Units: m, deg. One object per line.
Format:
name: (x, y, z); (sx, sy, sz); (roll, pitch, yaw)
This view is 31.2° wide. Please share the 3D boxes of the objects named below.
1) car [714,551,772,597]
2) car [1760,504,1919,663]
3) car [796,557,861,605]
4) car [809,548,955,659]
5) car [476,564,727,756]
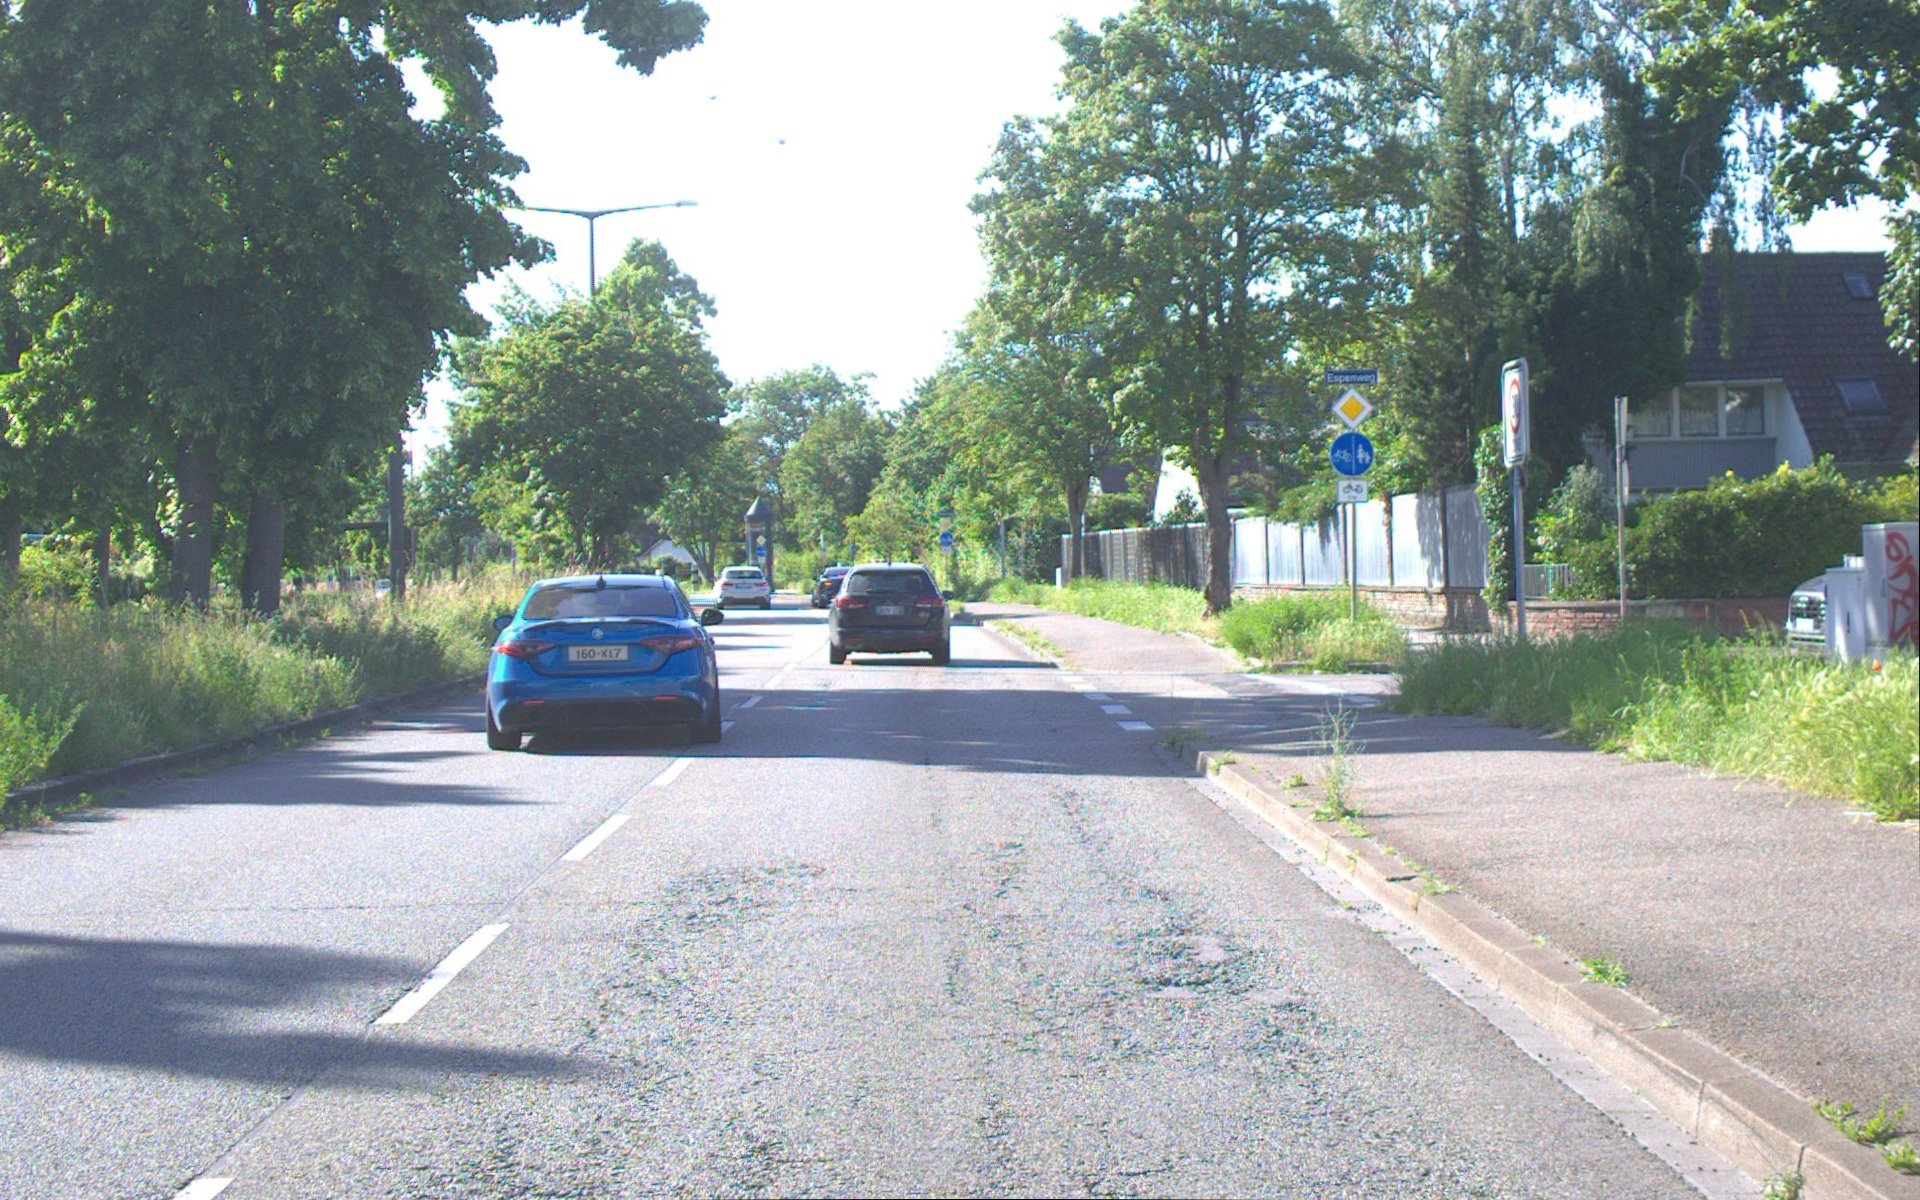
car: (-7.329, -0.889, 116.414); (1.915, 1.507, 4.068); (-1, 1, -3)
car: (11.423, -0.243, 37.623); (4.741, 1.651, 2.072); (-2, 1, -7)
car: (-4.652, -0.667, 121.247); (1.915, 1.672, 4.013); (0, 0, -7)
car: (-1.206, 0.019, 51.207); (1.915, 1.574, 4.183); (-1, 1, -5)
car: (-2.976, 0.474, 29.287); (1.838, 1.469, 4.185); (-2, 0, -2)
